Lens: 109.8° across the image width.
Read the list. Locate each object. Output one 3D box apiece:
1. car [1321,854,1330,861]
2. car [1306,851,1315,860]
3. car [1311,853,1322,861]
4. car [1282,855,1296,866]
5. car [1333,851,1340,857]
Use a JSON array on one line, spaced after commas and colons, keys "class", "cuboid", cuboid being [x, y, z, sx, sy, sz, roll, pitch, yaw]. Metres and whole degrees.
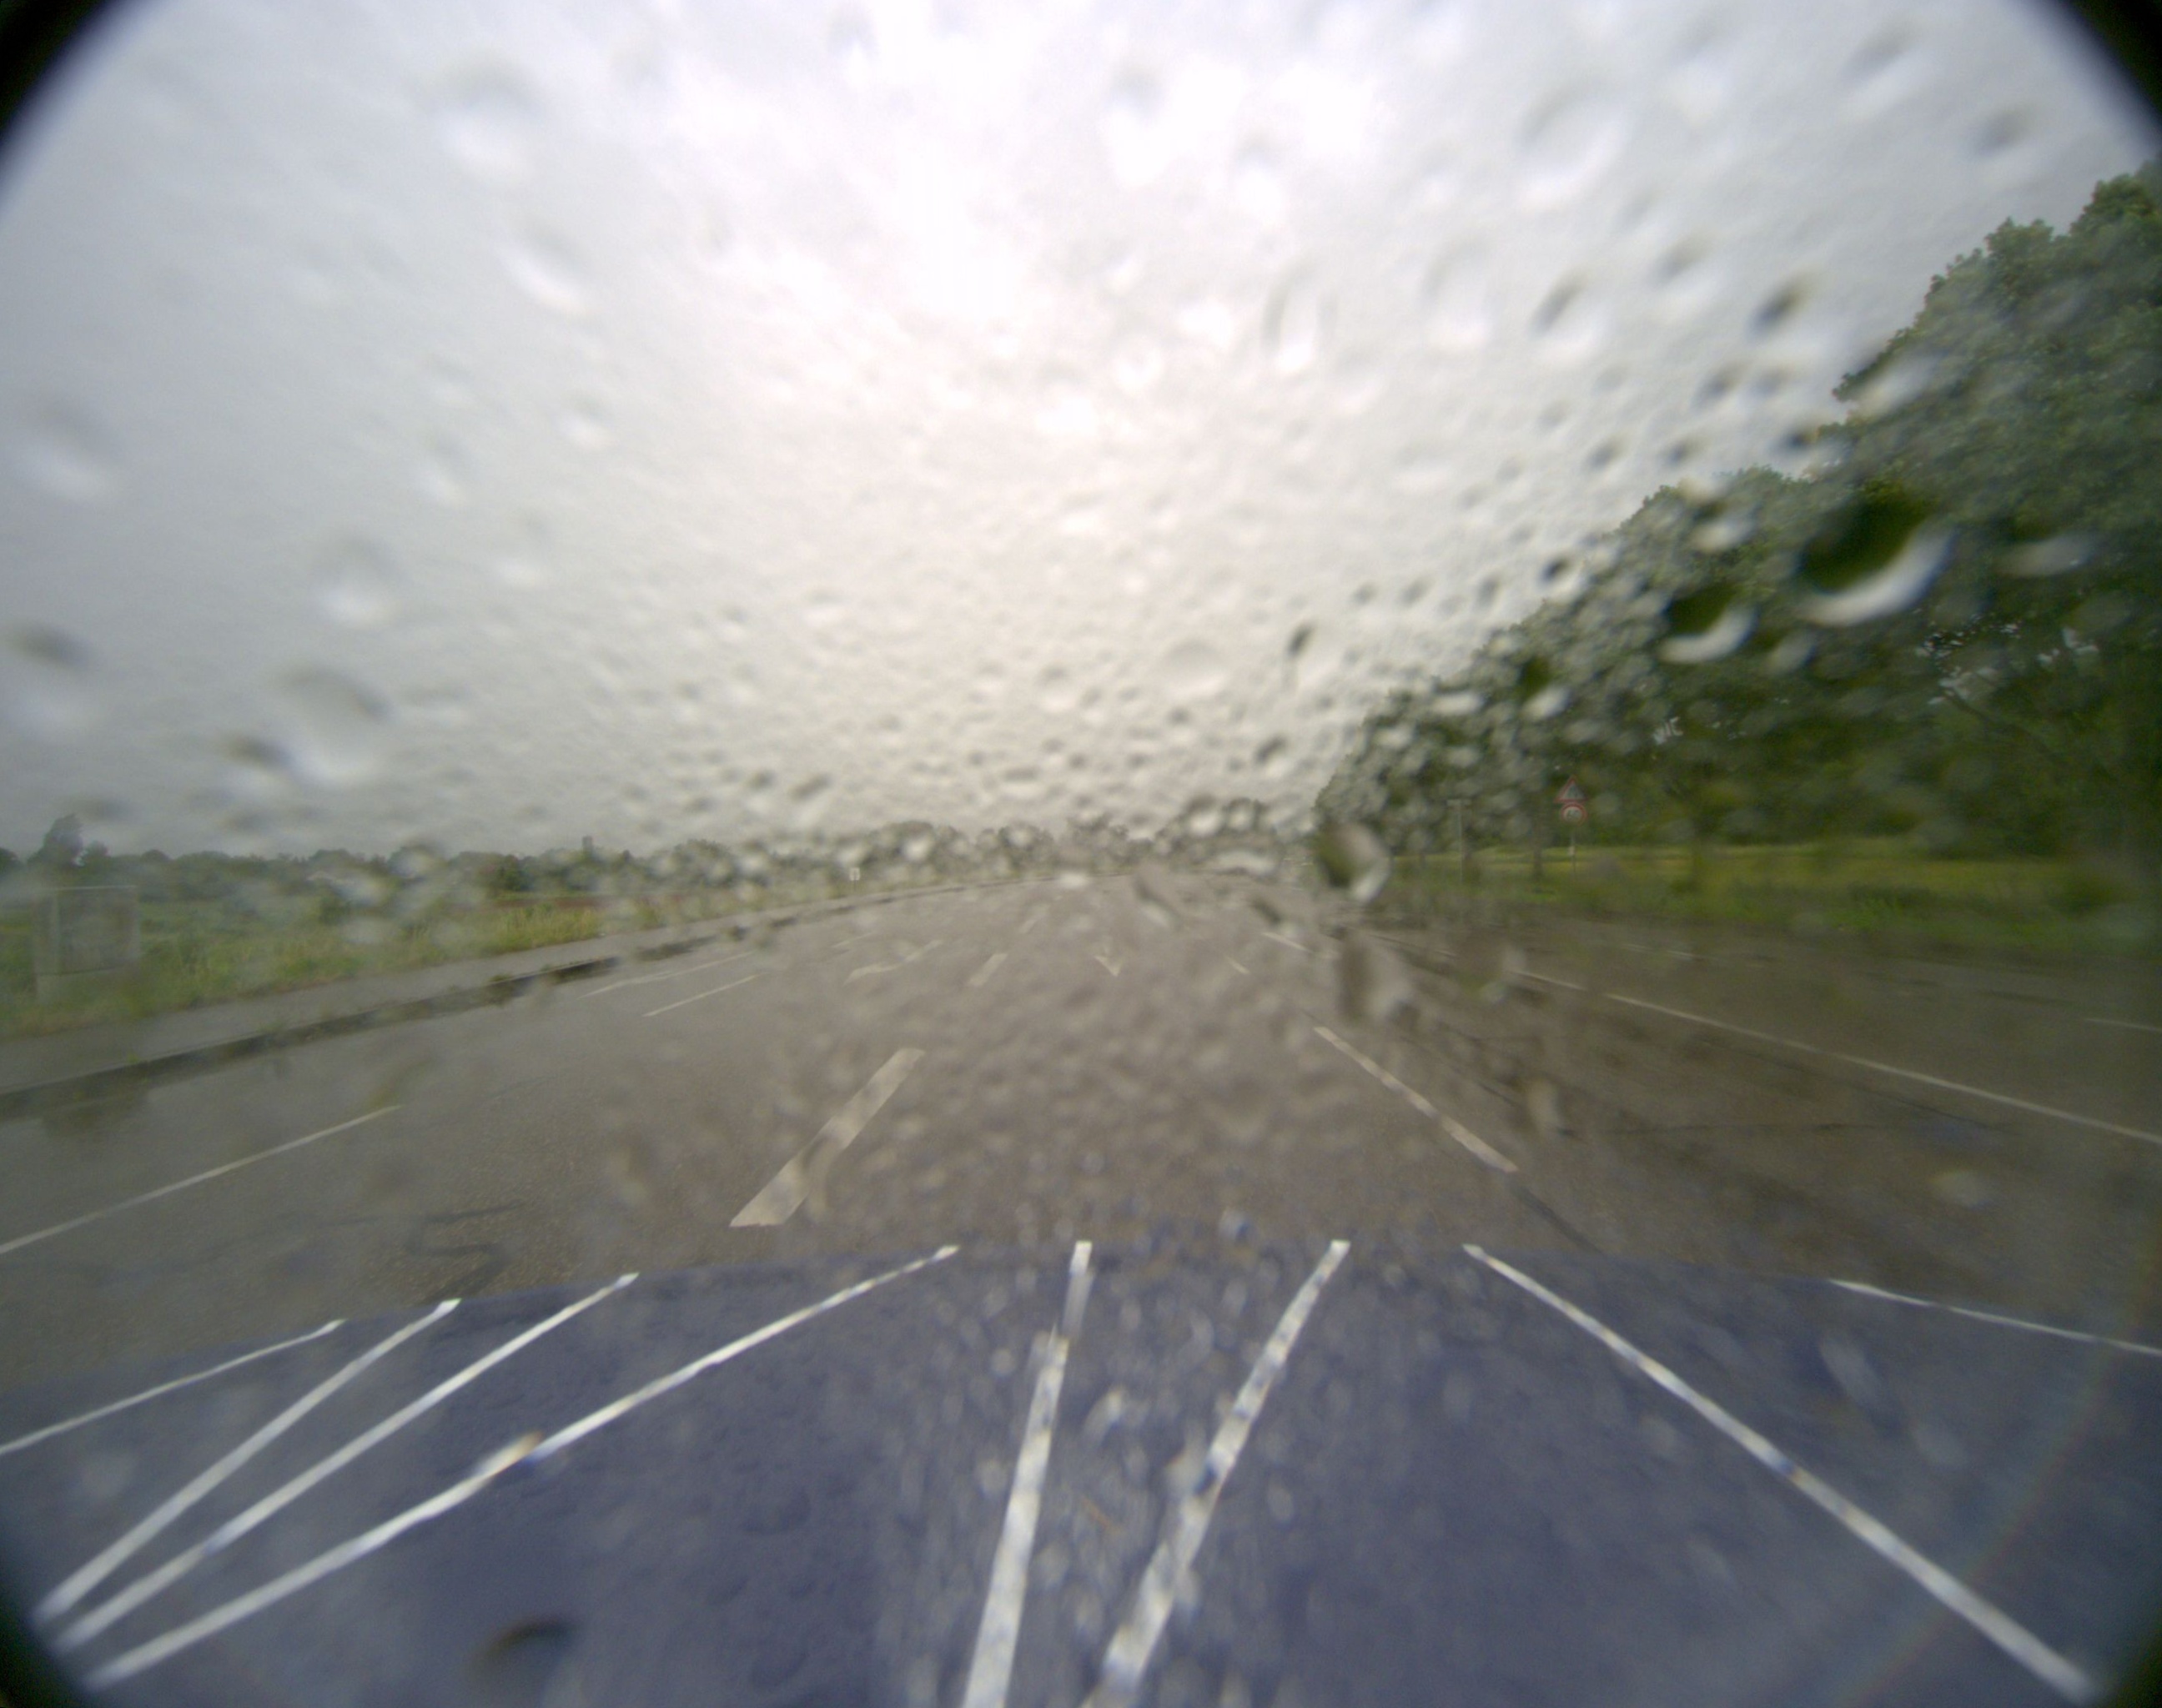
[{"class": "car", "cuboid": [54.729, 0.785, 170.136, 1.741, 1.478, 4.016, 0, 1, 20]}, {"class": "car", "cuboid": [49.886, 0.281, 165.098, 1.741, 1.979, 4.016, 0, 1, 19]}, {"class": "car", "cuboid": [48.390, 0.610, 156.069, 1.887, 1.578, 4.123, -3, 0, 15]}, {"class": "car", "cuboid": [31.485, 0.952, 114.909, 1.881, 1.564, 4.650, 0, 1, 17]}, {"class": "car", "cuboid": [73.677, -0.029, 219.001, 1.926, 1.733, 4.294, 0, 1, 18]}]
